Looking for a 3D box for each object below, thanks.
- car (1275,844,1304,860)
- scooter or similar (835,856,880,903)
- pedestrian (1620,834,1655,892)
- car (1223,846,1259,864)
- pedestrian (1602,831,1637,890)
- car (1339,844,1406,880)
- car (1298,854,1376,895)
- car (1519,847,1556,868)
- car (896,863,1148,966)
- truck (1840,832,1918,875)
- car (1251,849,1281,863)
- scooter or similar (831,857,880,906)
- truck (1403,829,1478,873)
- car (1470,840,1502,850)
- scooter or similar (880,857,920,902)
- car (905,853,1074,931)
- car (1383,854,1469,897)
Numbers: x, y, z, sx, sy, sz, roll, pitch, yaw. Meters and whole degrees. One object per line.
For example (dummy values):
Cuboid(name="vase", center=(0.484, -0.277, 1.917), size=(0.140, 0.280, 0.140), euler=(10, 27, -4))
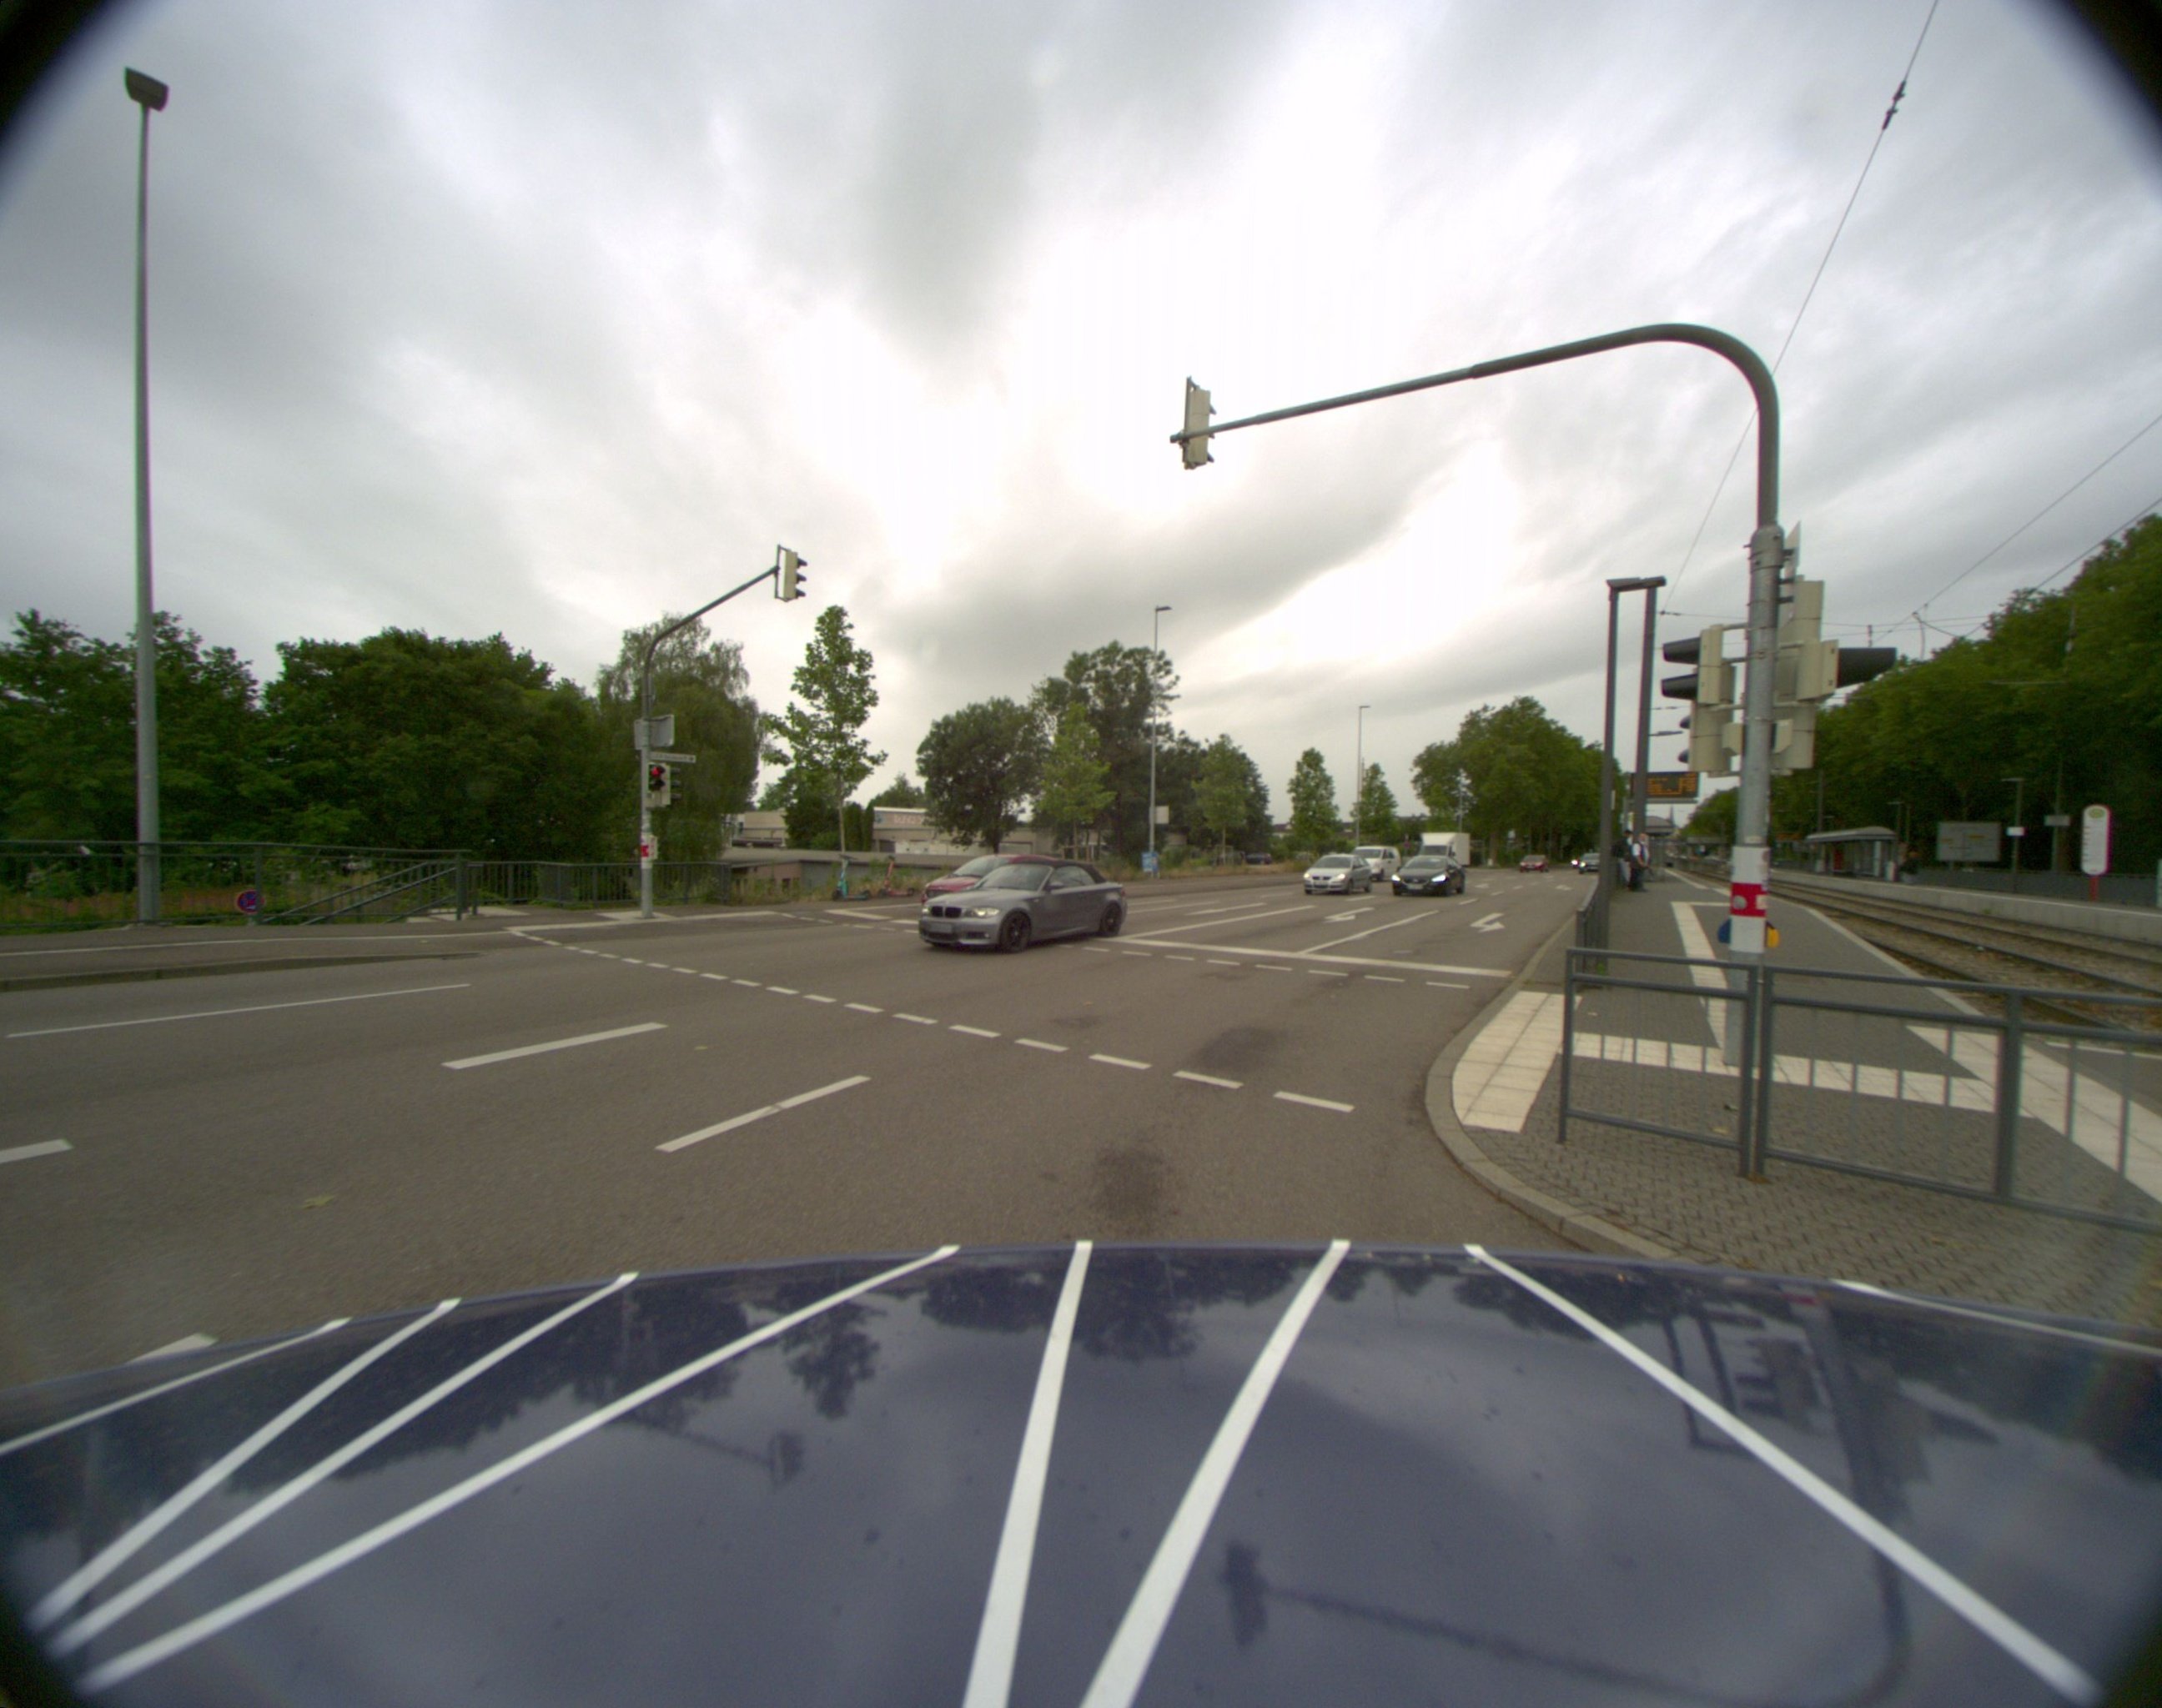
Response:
Cuboid(name="car", center=(28.210, -0.252, 102.736), size=(2.311, 2.002, 4.568), euler=(0, 0, 36))
Cuboid(name="scooter or similar", center=(-6.150, 0.690, 20.954), size=(0.390, 1.236, 1.157), euler=(4, 3, 39))
Cuboid(name="pedestrian", center=(15.257, 0.224, 20.826), size=(0.709, 1.551, 0.634), euler=(1, 2, 40))
Cuboid(name="car", center=(18.519, 0.124, 87.673), size=(2.183, 2.002, 4.568), euler=(4, 2, 37))
Cuboid(name="pedestrian", center=(16.129, 0.179, 22.765), size=(0.786, 1.732, 0.588), euler=(1, 2, 40))
Cuboid(name="car", center=(16.003, 0.391, 41.504), size=(2.094, 1.869, 5.131), euler=(1, 0, 37))
Cuboid(name="car", center=(9.609, 0.713, 28.359), size=(1.678, 1.410, 3.858), euler=(1, 0, 36))
Cuboid(name="car", center=(38.091, 0.247, 63.380), size=(1.888, 1.673, 4.008), euler=(1, 2, 42))
Cuboid(name="car", center=(-0.824, 0.888, 13.045), size=(1.871, 1.383, 4.353), euler=(1, 0, 38))
Cuboid(name="truck", center=(76.241, -0.083, 72.840), size=(3.251, 3.643, 9.917), euler=(5, 3, 36))
Cuboid(name="car", center=(23.038, 0.215, 94.627), size=(2.118, 1.686, 4.660), euler=(0, 0, 34))
Cuboid(name="scooter or similar", center=(-6.033, 0.721, 20.386), size=(0.476, 1.236, 1.157), euler=(4, 3, 44))
Cuboid(name="truck", center=(25.439, -0.207, 53.609), size=(2.820, 2.906, 6.558), euler=(1, 1, 44))
Cuboid(name="car", center=(58.293, -1.313, 109.370), size=(3.988, 1.499, 1.814), euler=(0, 1, 33))
Cuboid(name="scooter or similar", center=(-5.168, 0.711, 21.745), size=(0.374, 1.208, 1.049), euler=(4, 6, 44))
Cuboid(name="car", center=(-1.966, 0.762, 17.256), size=(1.651, 1.552, 3.779), euler=(1, 1, 37))
Cuboid(name="car", center=(12.489, 0.713, 27.367), size=(1.994, 1.383, 4.353), euler=(0, 0, 36))
